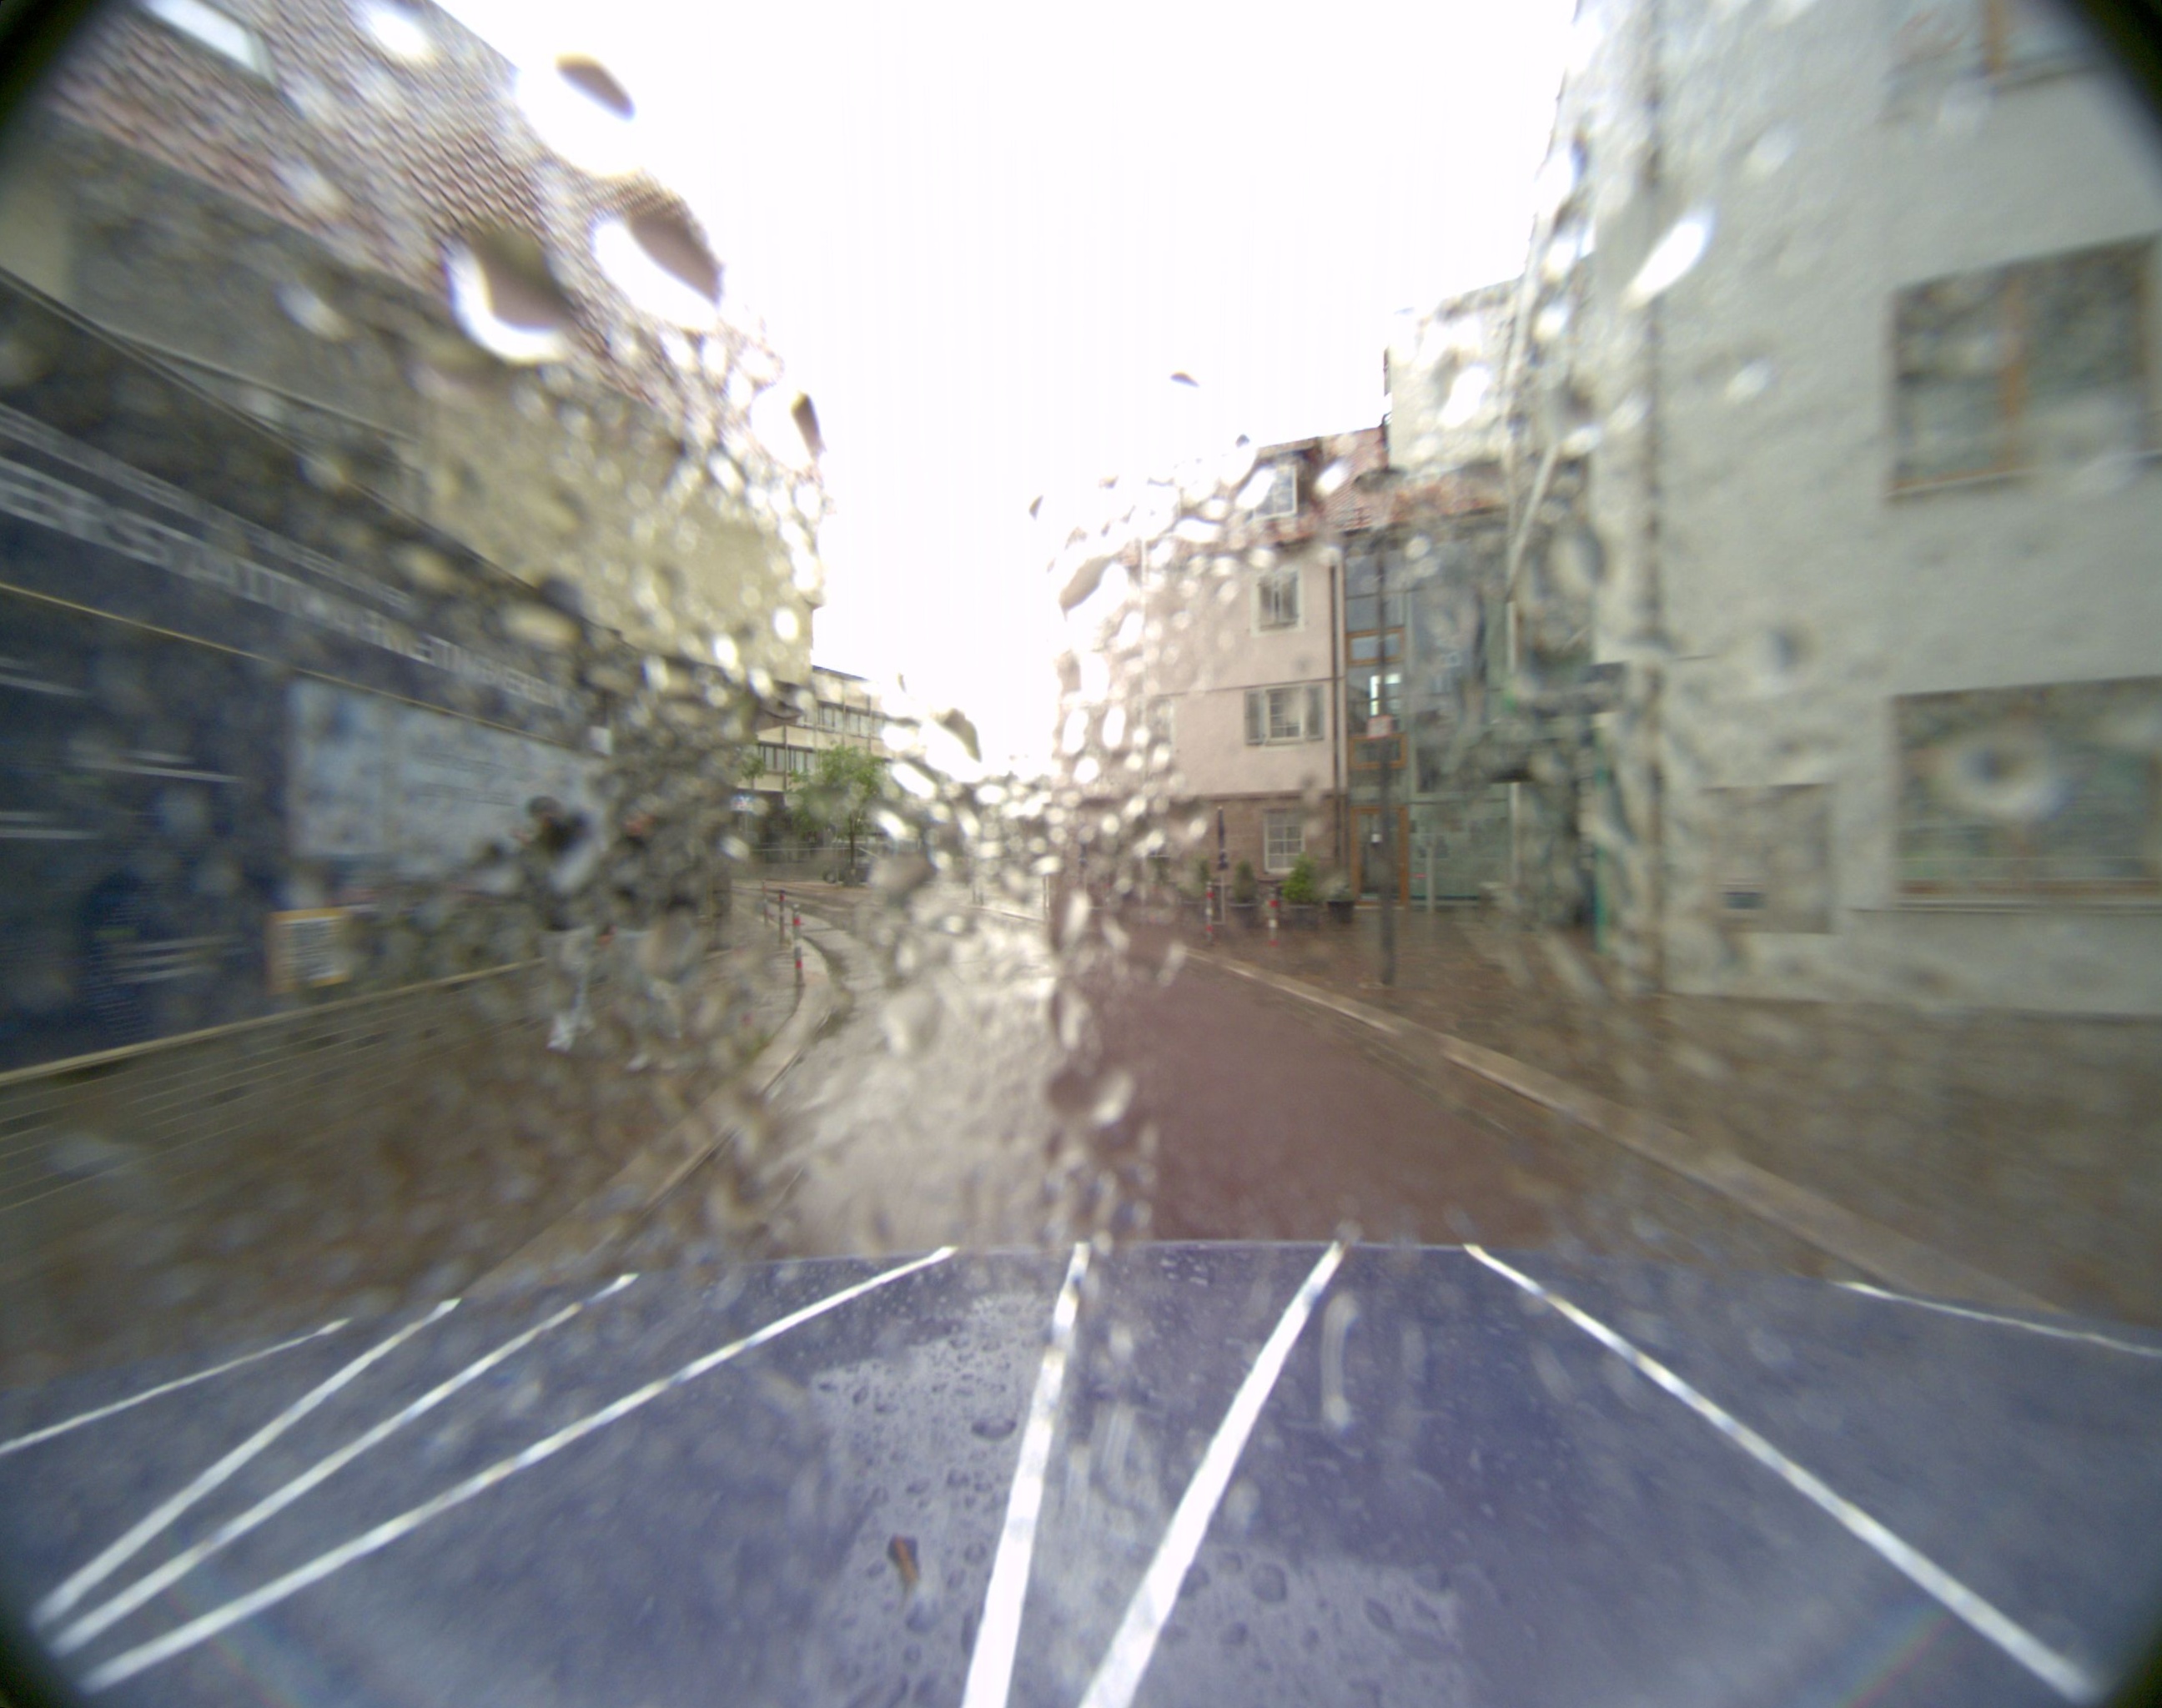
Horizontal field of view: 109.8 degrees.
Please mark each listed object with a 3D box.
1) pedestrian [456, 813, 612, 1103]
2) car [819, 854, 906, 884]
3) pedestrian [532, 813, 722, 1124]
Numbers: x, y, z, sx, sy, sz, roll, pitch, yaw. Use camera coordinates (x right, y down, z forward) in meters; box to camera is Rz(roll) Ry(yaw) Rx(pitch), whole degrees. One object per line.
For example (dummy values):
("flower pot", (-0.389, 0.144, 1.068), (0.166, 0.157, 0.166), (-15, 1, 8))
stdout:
("pedestrian", (-3.780, 0.677, 5.306), (0.656, 1.892, 0.658), (1, 2, -10))
("car", (-11.503, 0.781, 40.141), (3.991, 1.409, 1.878), (1, 0, 16))
("pedestrian", (-2.985, 0.694, 5.103), (0.774, 1.894, 0.804), (-2, 2, -9))
